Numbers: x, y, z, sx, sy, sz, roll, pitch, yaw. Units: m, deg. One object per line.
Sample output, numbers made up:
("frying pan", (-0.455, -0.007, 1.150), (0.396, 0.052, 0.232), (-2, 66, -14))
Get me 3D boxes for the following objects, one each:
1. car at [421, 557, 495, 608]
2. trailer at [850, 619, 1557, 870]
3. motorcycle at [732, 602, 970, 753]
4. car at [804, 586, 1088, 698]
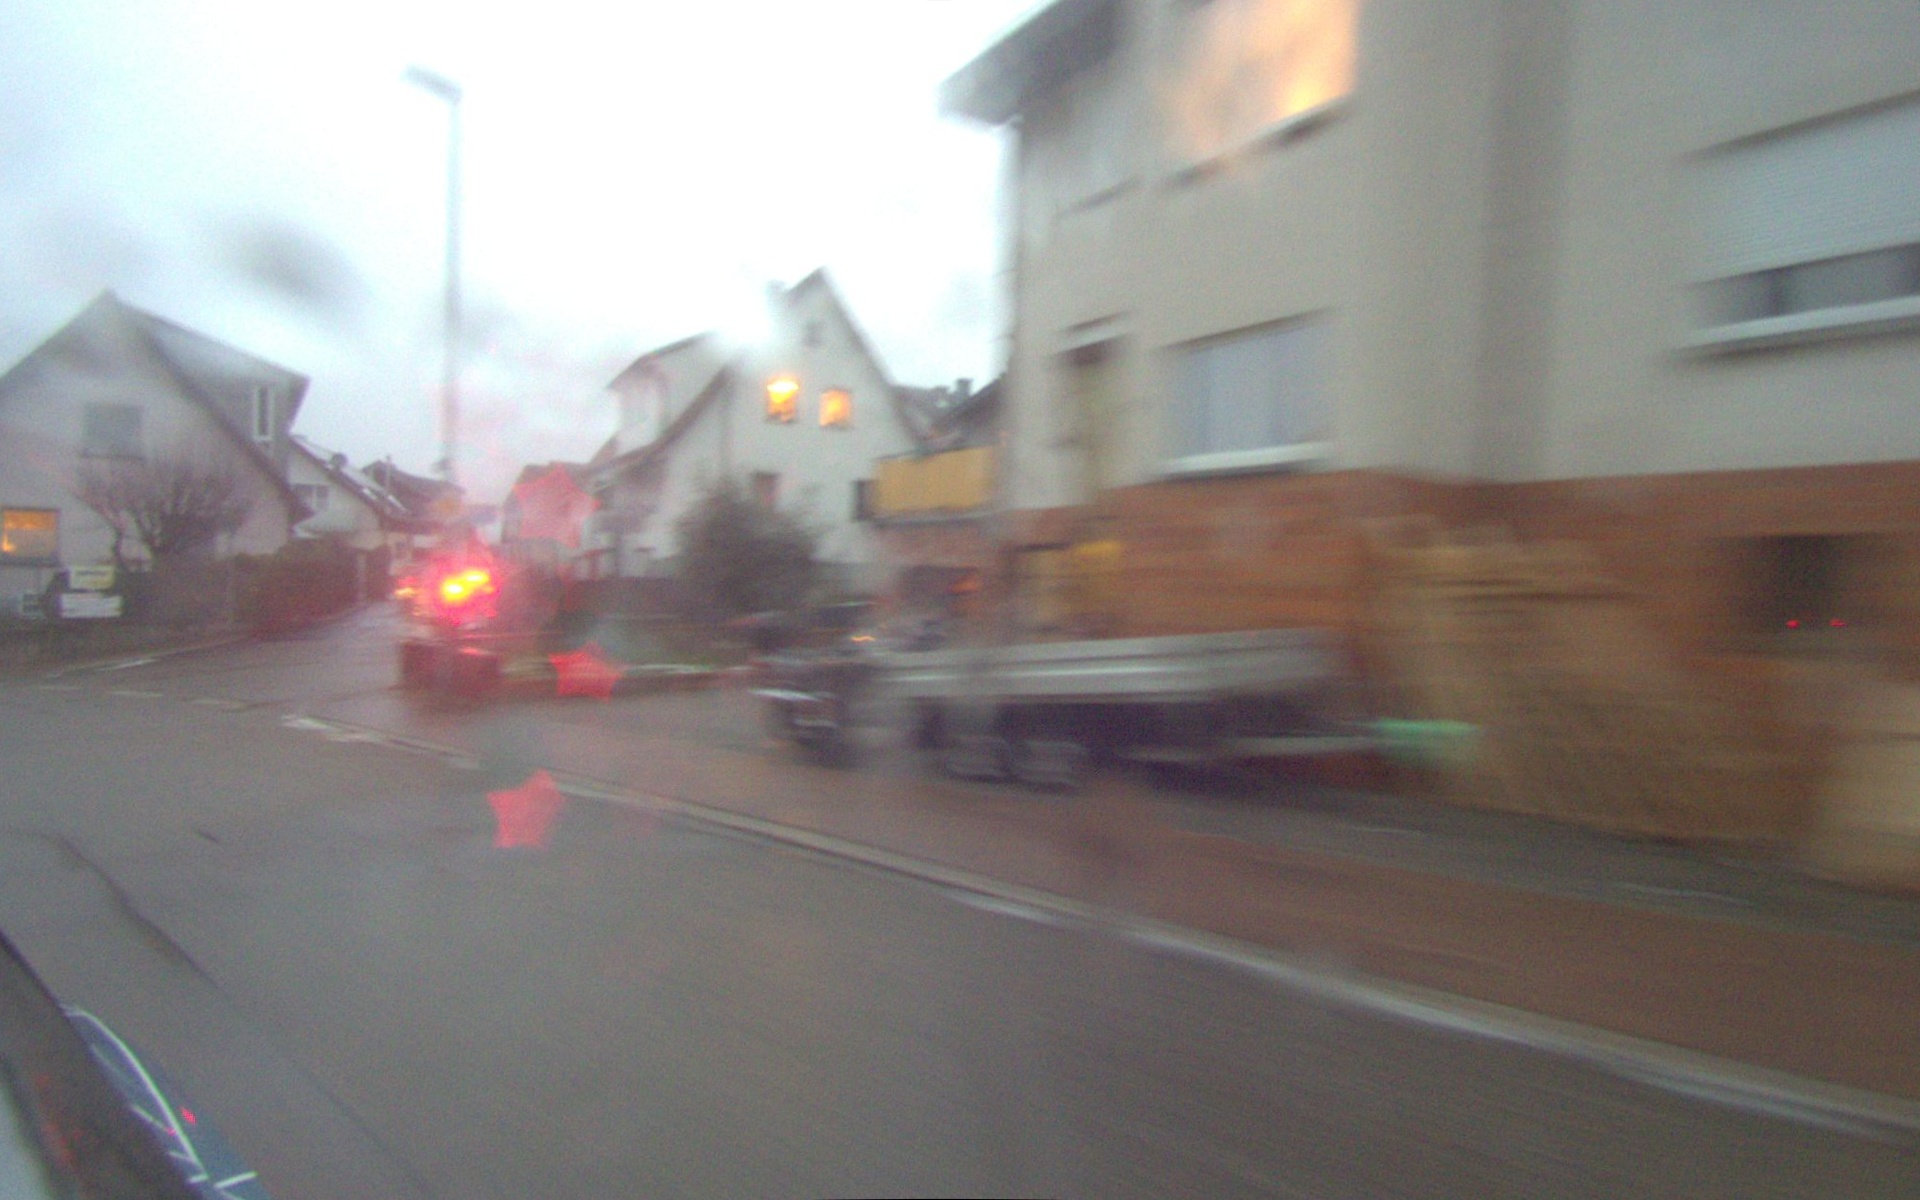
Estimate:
("car", (-17.141, -0.651, 34.727), (1.965, 1.643, 4.014), (-2, 3, -22))
("trailer", (1.479, 0.788, 7.642), (2.034, 1.177, 4.871), (-1, 0, -44))
("motorcycle", (-1.111, 0.710, 10.062), (2.201, 1.308, 1.060), (-2, 1, -14))
("car", (-0.162, 0.540, 15.414), (3.934, 1.427, 1.922), (-2, 1, -36))
